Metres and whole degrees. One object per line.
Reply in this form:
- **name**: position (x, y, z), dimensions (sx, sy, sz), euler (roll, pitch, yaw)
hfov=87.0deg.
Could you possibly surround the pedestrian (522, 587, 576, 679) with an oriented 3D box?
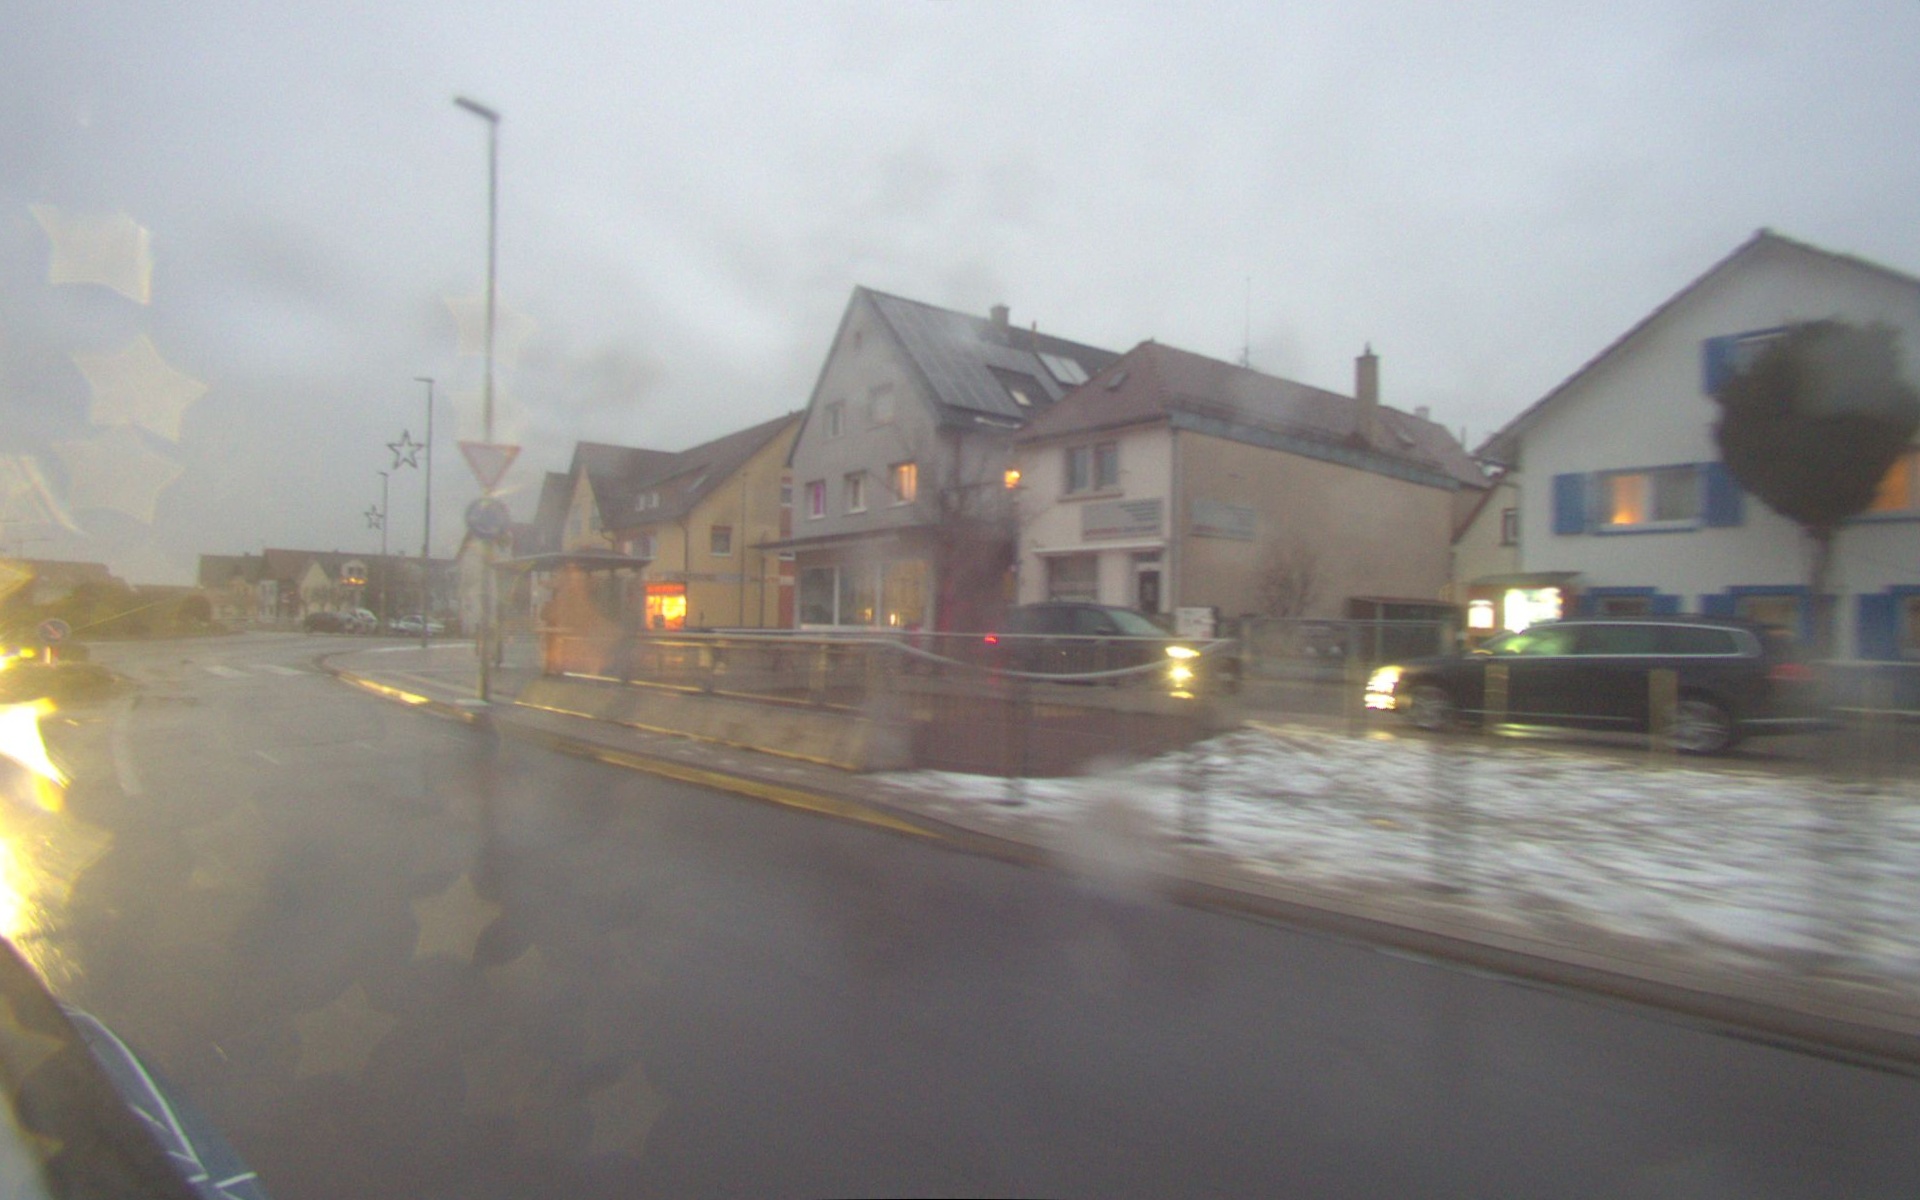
- **pedestrian**: position (-8.059, 0.636, 19.857), dimensions (0.687, 1.755, 0.740), euler (-2, -1, 43)

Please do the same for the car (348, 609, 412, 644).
- **car**: position (-37.820, 1.686, 66.008), dimensions (3.955, 2.029, 1.907), euler (2, 2, 29)

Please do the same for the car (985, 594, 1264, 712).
- **car**: position (2.615, 0.862, 17.009), dimensions (1.733, 1.714, 4.570), euler (4, -4, -41)

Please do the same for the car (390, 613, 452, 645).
- **car**: position (-36.292, 1.928, 68.177), dimensions (3.855, 1.895, 1.917), euler (2, 2, 29)

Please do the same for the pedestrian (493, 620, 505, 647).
- **pedestrian**: position (-28.407, 2.062, 62.342), dimensions (0.573, 1.623, 0.501), euler (0, 2, -43)

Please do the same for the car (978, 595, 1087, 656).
- **car**: position (2.352, 0.809, 32.629), dimensions (3.372, 1.867, 1.516), euler (1, -1, -39)

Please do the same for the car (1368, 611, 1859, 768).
- **car**: position (7.450, 0.933, 11.914), dimensions (4.574, 1.494, 1.781), euler (-2, -3, 45)

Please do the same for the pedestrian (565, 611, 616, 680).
- **pedestrian**: position (-7.165, 0.865, 19.623), dimensions (0.677, 1.281, 0.751), euler (-1, -1, -43)

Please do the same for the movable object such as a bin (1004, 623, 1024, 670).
- **movable object such as a bin**: position (1.454, 1.255, 27.274), dimensions (0.284, 1.219, 0.454), euler (0, 2, -42)

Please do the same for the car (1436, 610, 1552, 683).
- **car**: position (15.944, 1.408, 30.171), dimensions (3.525, 2.034, 1.840), euler (4, -4, -40)

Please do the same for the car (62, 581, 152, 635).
- **car**: position (-34.601, 0.279, 41.176), dimensions (2.024, 2.001, 4.551), euler (0, 2, -30)

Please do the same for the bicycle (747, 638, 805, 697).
- **bicycle**: position (-3.437, 1.232, 18.828), dimensions (0.463, 1.017, 1.744), euler (1, -1, -31)

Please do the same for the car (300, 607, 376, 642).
- **car**: position (-39.109, 1.502, 63.691), dimensions (3.964, 2.010, 1.962), euler (1, 1, 16)

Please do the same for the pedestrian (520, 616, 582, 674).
- **pedestrian**: position (-8.518, 0.930, 21.073), dimensions (0.975, 1.167, 0.903), euler (0, -2, -38)
